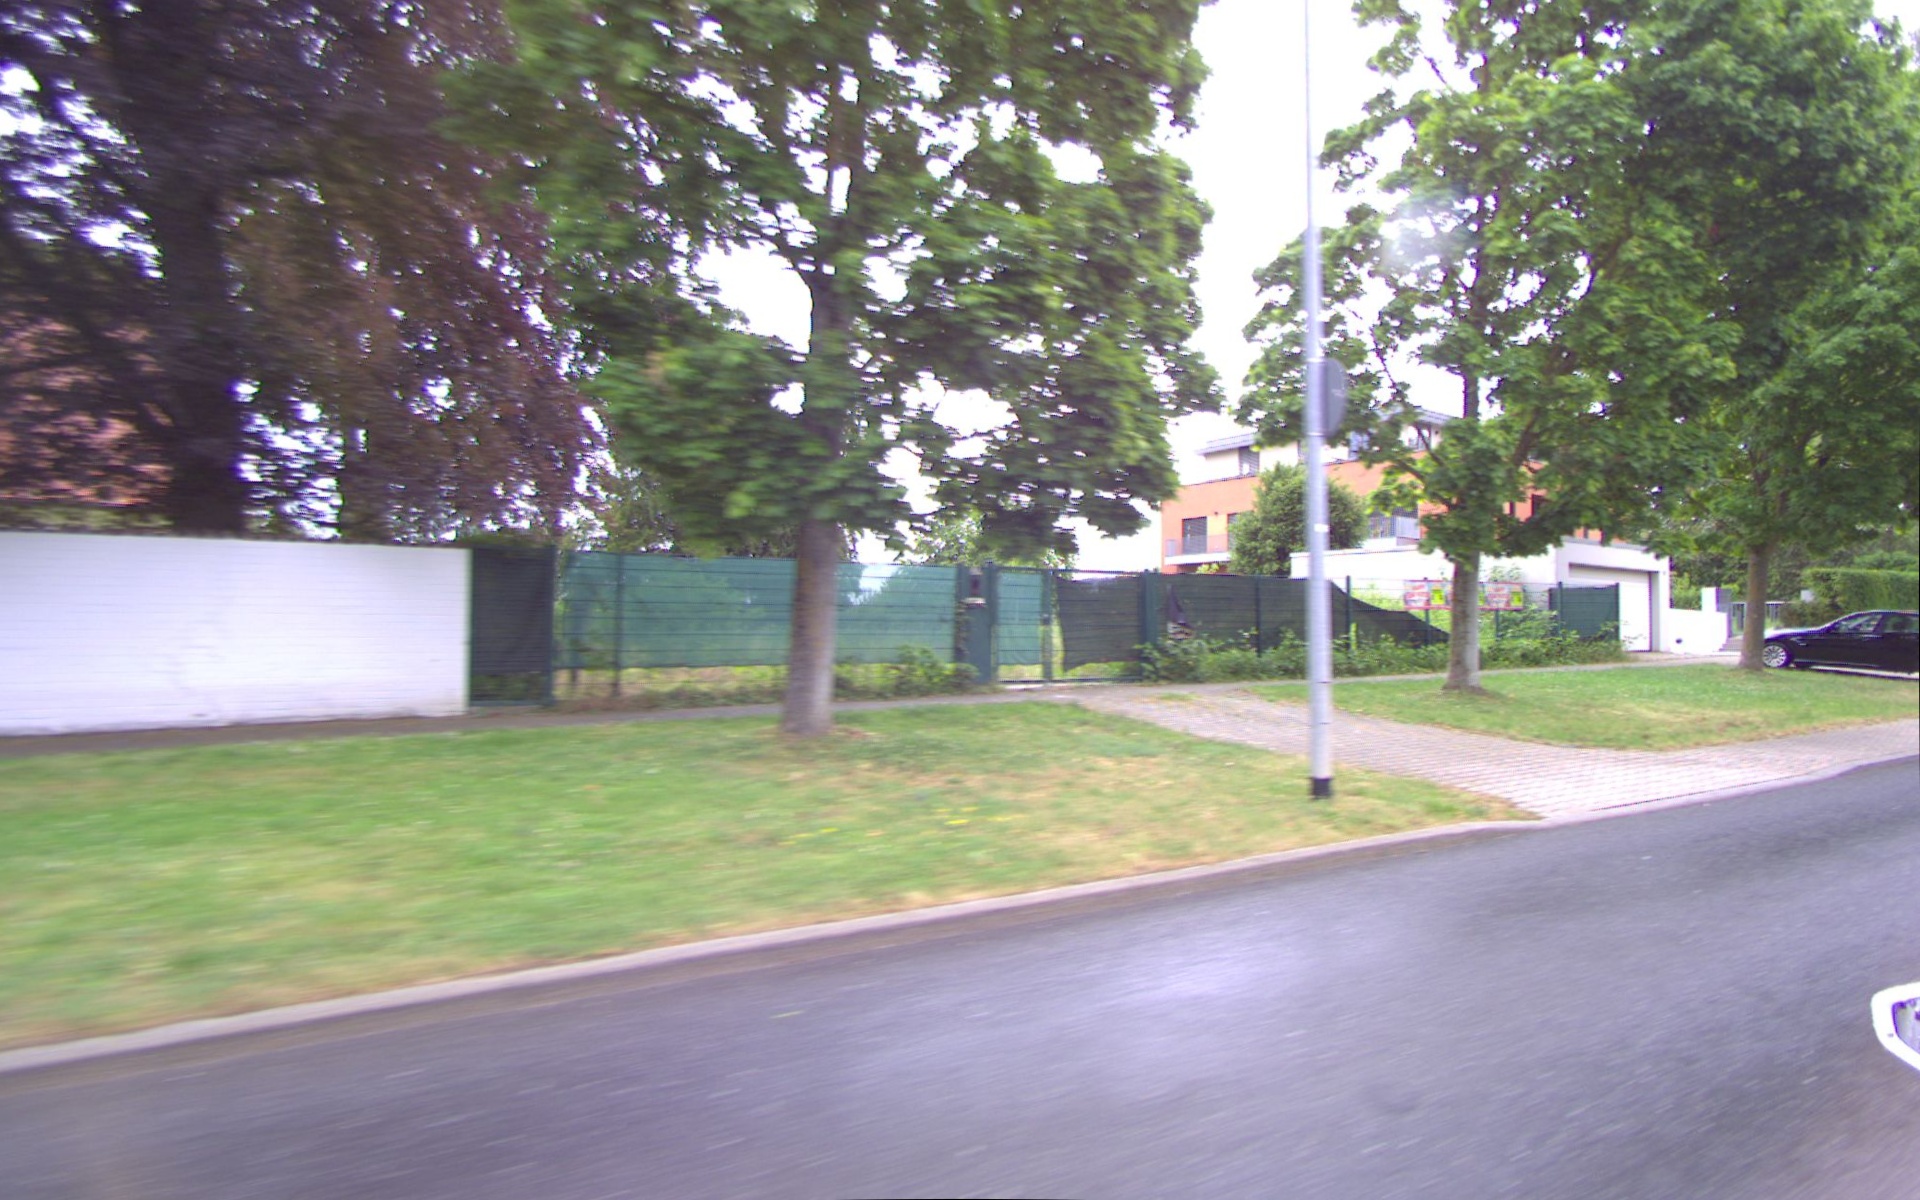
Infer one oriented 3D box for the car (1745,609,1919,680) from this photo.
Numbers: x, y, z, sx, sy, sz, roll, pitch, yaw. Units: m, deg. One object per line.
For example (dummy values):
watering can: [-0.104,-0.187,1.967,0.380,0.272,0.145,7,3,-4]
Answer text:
car: [19.705,0.926,21.559,1.667,1.381,4.204,1,0,-26]
